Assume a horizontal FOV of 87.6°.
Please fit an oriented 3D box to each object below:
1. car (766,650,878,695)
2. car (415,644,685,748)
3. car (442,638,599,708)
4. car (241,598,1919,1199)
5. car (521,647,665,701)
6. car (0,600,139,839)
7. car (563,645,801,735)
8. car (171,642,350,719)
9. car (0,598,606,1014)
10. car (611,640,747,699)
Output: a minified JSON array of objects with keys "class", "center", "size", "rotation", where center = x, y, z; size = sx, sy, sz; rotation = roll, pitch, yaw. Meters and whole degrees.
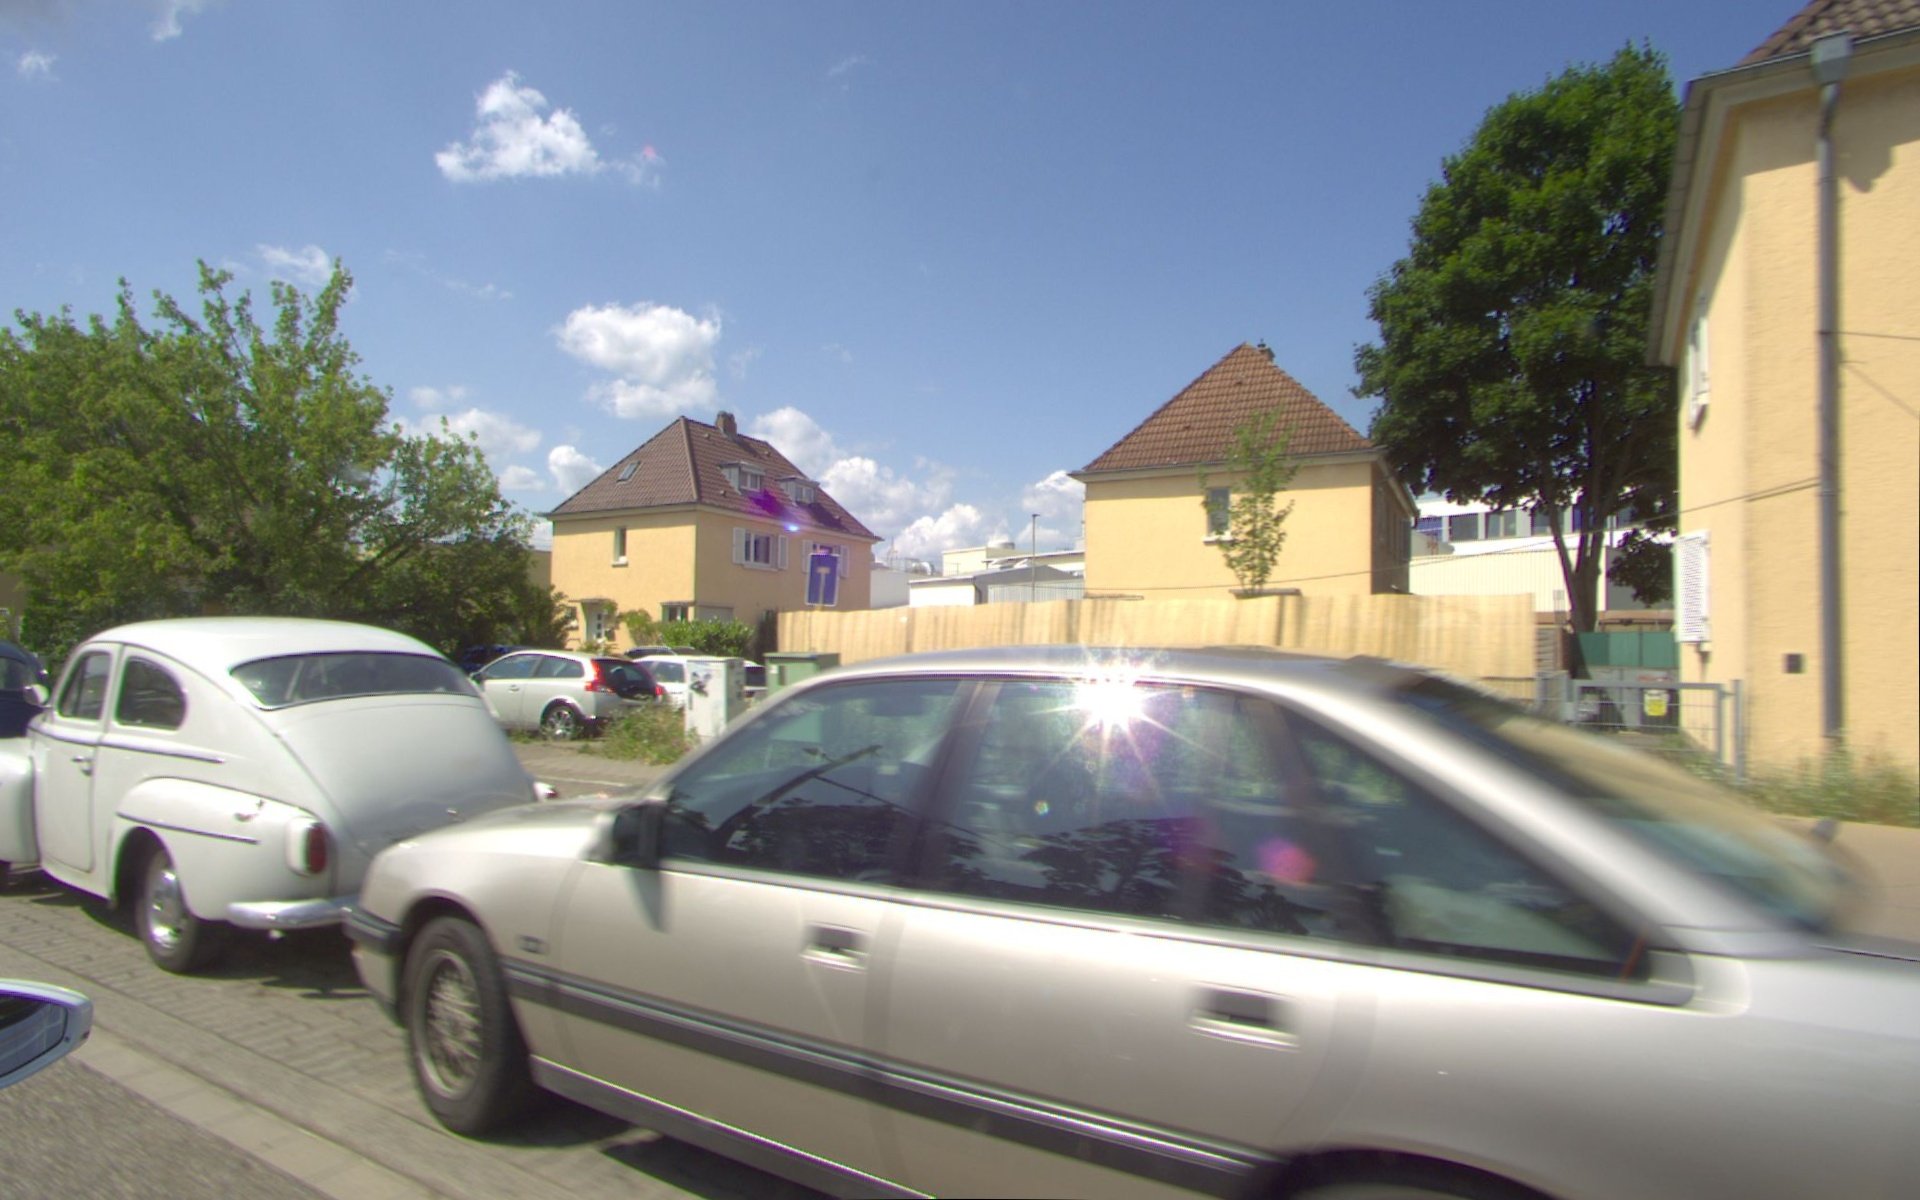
[{"class":"car","center":[-4.641,2.465,34.177],"size":[1.618,1.453,4.071],"rotation":[-3,-5,31]},{"class":"car","center":[-6.384,1.410,15.551],"size":[4.023,1.391,1.637],"rotation":[0,-3,27]},{"class":"car","center":[-11.278,1.823,25.661],"size":[4.026,1.568,1.634],"rotation":[0,0,30]},{"class":"car","center":[0.051,0.798,2.891],"size":[4.764,1.467,1.705],"rotation":[-1,-3,31]},{"class":"car","center":[-10.414,2.068,28.350],"size":[4.027,1.418,1.635],"rotation":[-1,-3,30]},{"class":"car","center":[-8.520,0.852,7.981],"size":[4.181,1.661,1.548],"rotation":[-1,-3,28]},{"class":"car","center":[-4.971,1.535,17.834],"size":[4.023,1.391,1.637],"rotation":[0,-3,27]},{"class":"car","center":[-14.166,1.561,20.215],"size":[4.032,1.372,1.633],"rotation":[-1,-3,35]},{"class":"car","center":[-4.086,0.825,5.534],"size":[4.394,1.531,1.576],"rotation":[-1,-3,31]},{"class":"car","center":[-8.504,2.115,30.273],"size":[4.028,1.685,1.635],"rotation":[-3,-4,30]}]
